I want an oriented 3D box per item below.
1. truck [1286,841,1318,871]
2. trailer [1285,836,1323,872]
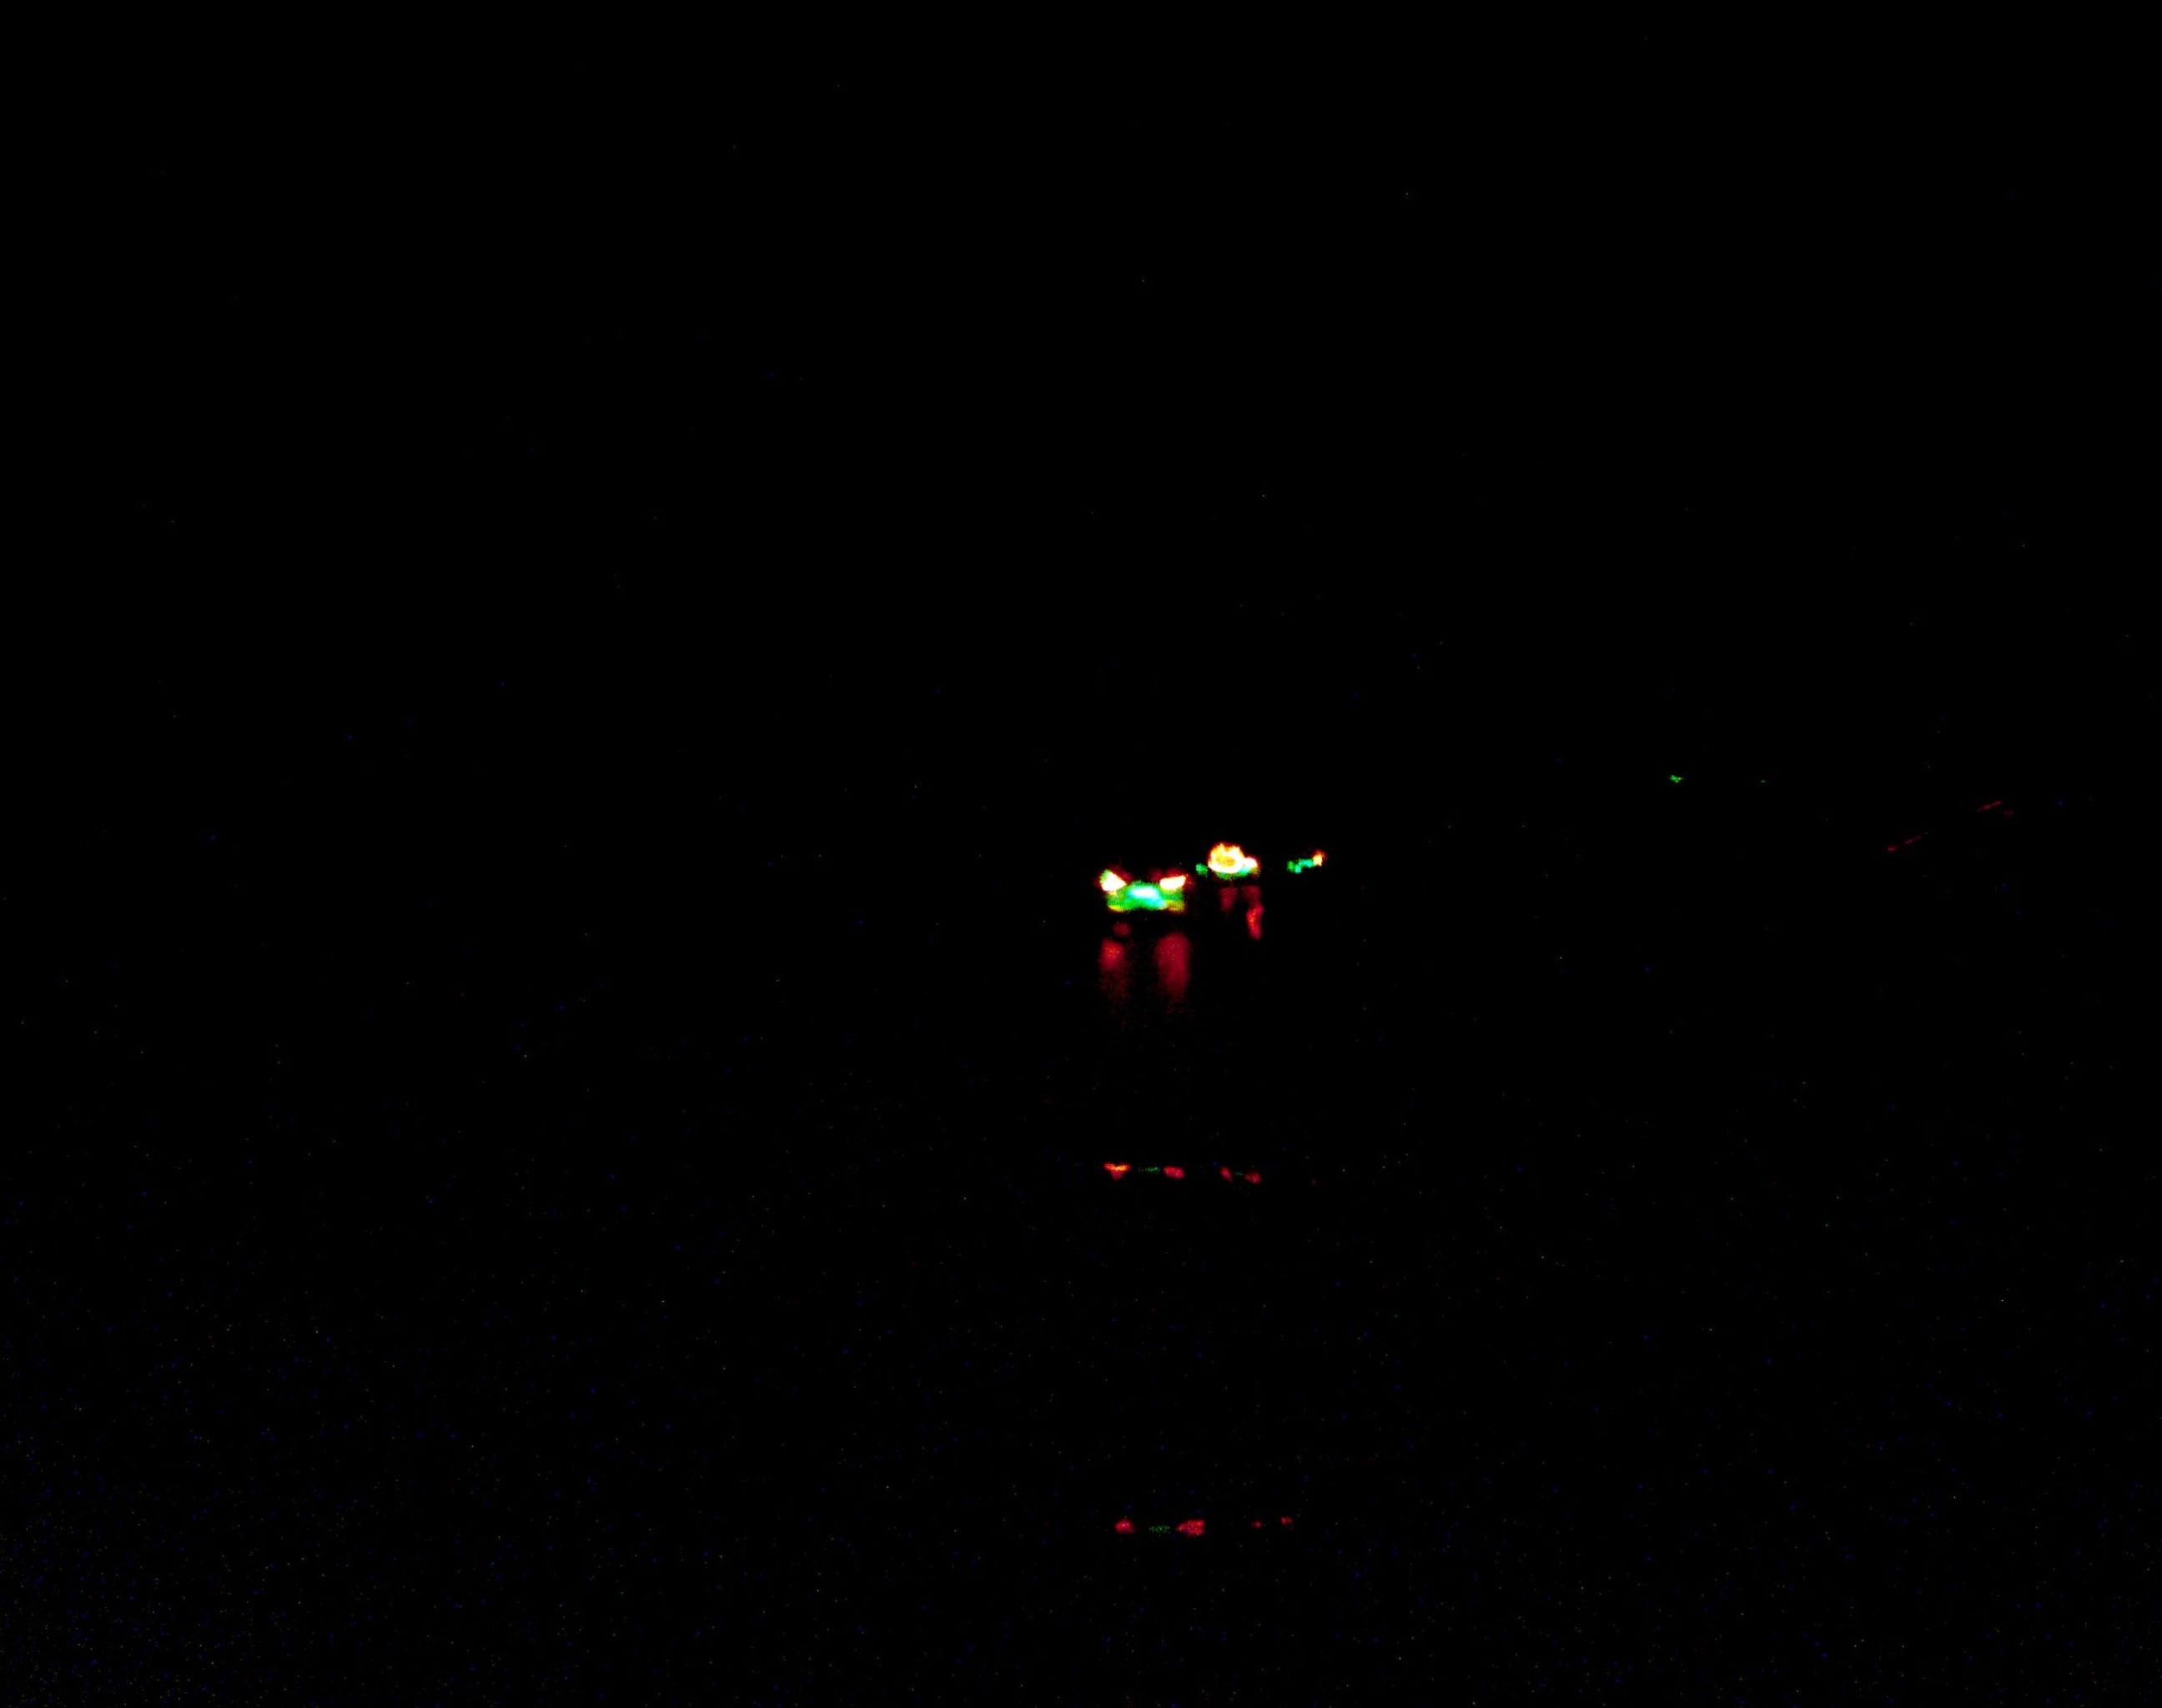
[{"bbox_3d":[16.345,0.201,60.033,2.055,2.014,4.901,-4,-2,16],"label":"truck"},{"bbox_3d":[14.632,0.105,53.717,2.063,2.014,10.687,-4,-2,14],"label":"trailer"}]
